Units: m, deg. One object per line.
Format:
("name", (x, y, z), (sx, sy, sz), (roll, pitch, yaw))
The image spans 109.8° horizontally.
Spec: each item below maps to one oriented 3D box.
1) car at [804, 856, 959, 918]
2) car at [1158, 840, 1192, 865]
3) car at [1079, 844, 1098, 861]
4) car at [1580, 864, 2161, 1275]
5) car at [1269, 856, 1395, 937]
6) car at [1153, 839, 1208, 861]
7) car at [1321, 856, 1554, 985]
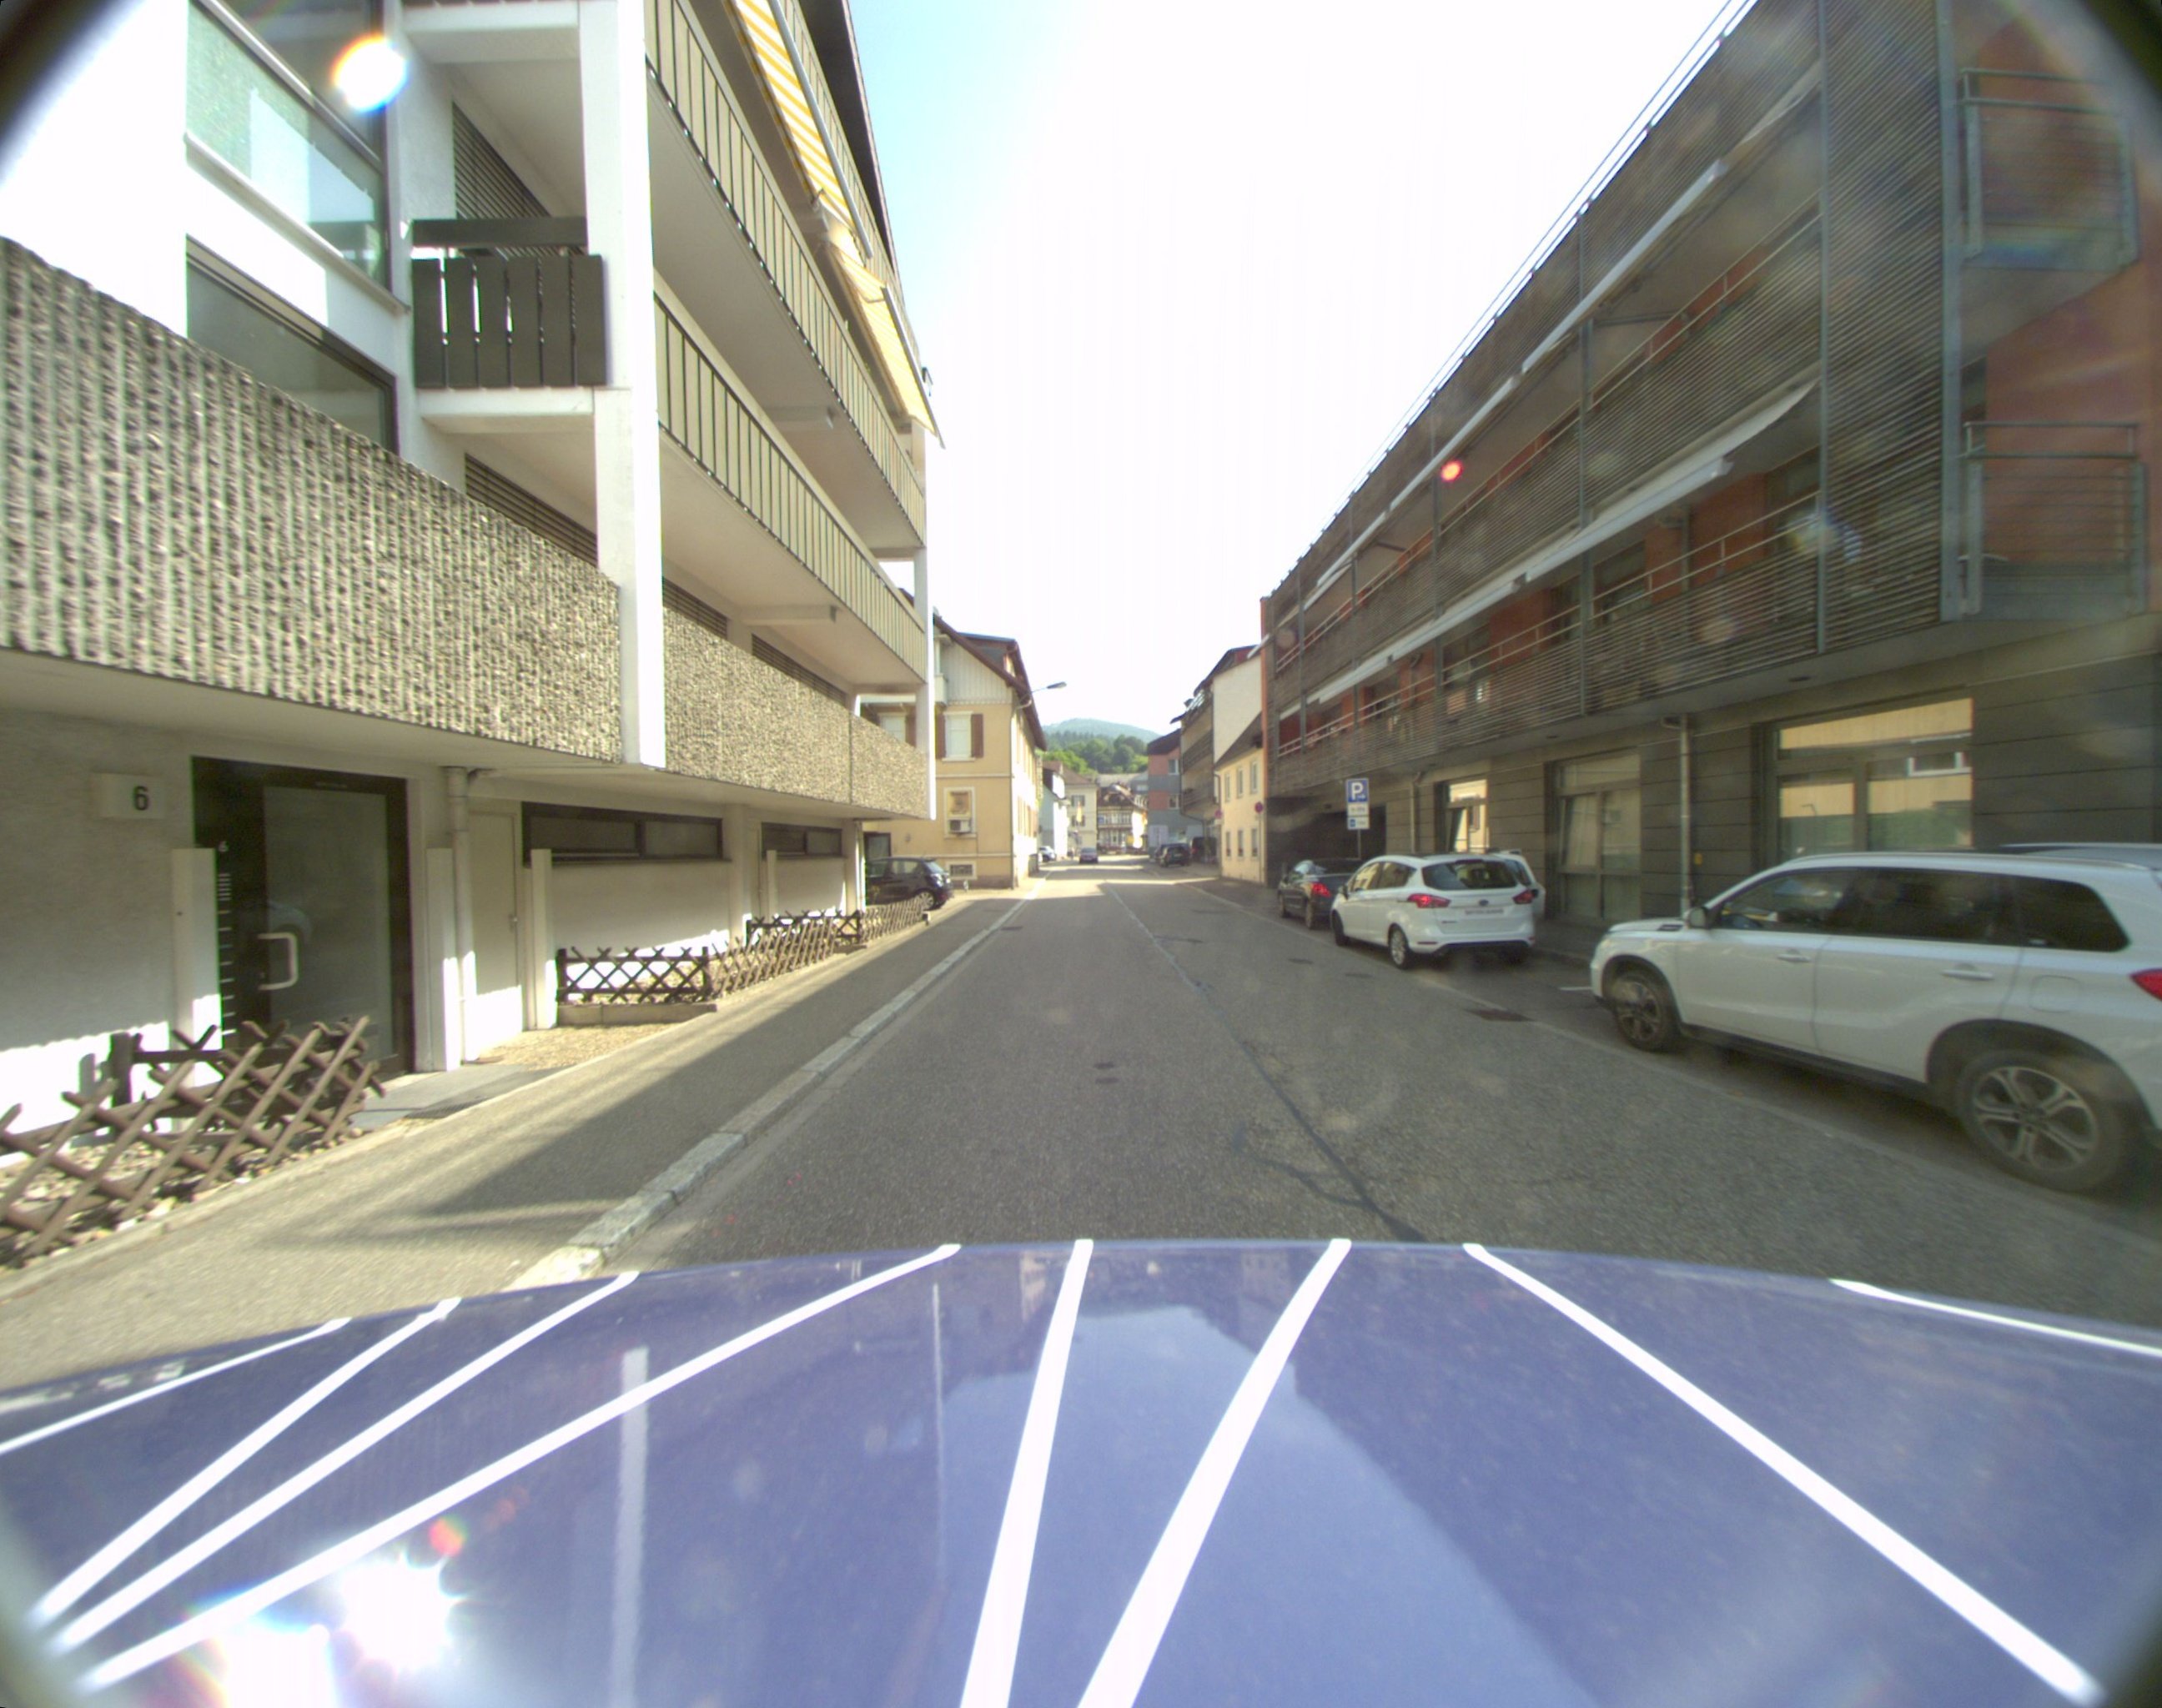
("car", (-5.491, 0.890, 21.270), (3.837, 1.471, 1.699), (-3, 2, -1))
("car", (6.512, -0.123, 52.819), (1.786, 1.566, 3.888), (-4, 1, 0))
("car", (0.703, -0.158, 73.300), (1.822, 1.652, 3.999), (0, 1, 0))
("car", (5.208, 0.898, 4.645), (1.679, 1.580, 3.949), (-2, 0, 0))
("car", (5.254, 0.826, 16.349), (1.552, 1.408, 3.593), (-2, 1, 2))
("car", (8.000, -0.305, 61.198), (4.000, 1.674, 1.834), (-1, -1, -7))
("car", (5.056, 0.839, 11.394), (1.678, 1.546, 3.764), (-2, 0, 0))
